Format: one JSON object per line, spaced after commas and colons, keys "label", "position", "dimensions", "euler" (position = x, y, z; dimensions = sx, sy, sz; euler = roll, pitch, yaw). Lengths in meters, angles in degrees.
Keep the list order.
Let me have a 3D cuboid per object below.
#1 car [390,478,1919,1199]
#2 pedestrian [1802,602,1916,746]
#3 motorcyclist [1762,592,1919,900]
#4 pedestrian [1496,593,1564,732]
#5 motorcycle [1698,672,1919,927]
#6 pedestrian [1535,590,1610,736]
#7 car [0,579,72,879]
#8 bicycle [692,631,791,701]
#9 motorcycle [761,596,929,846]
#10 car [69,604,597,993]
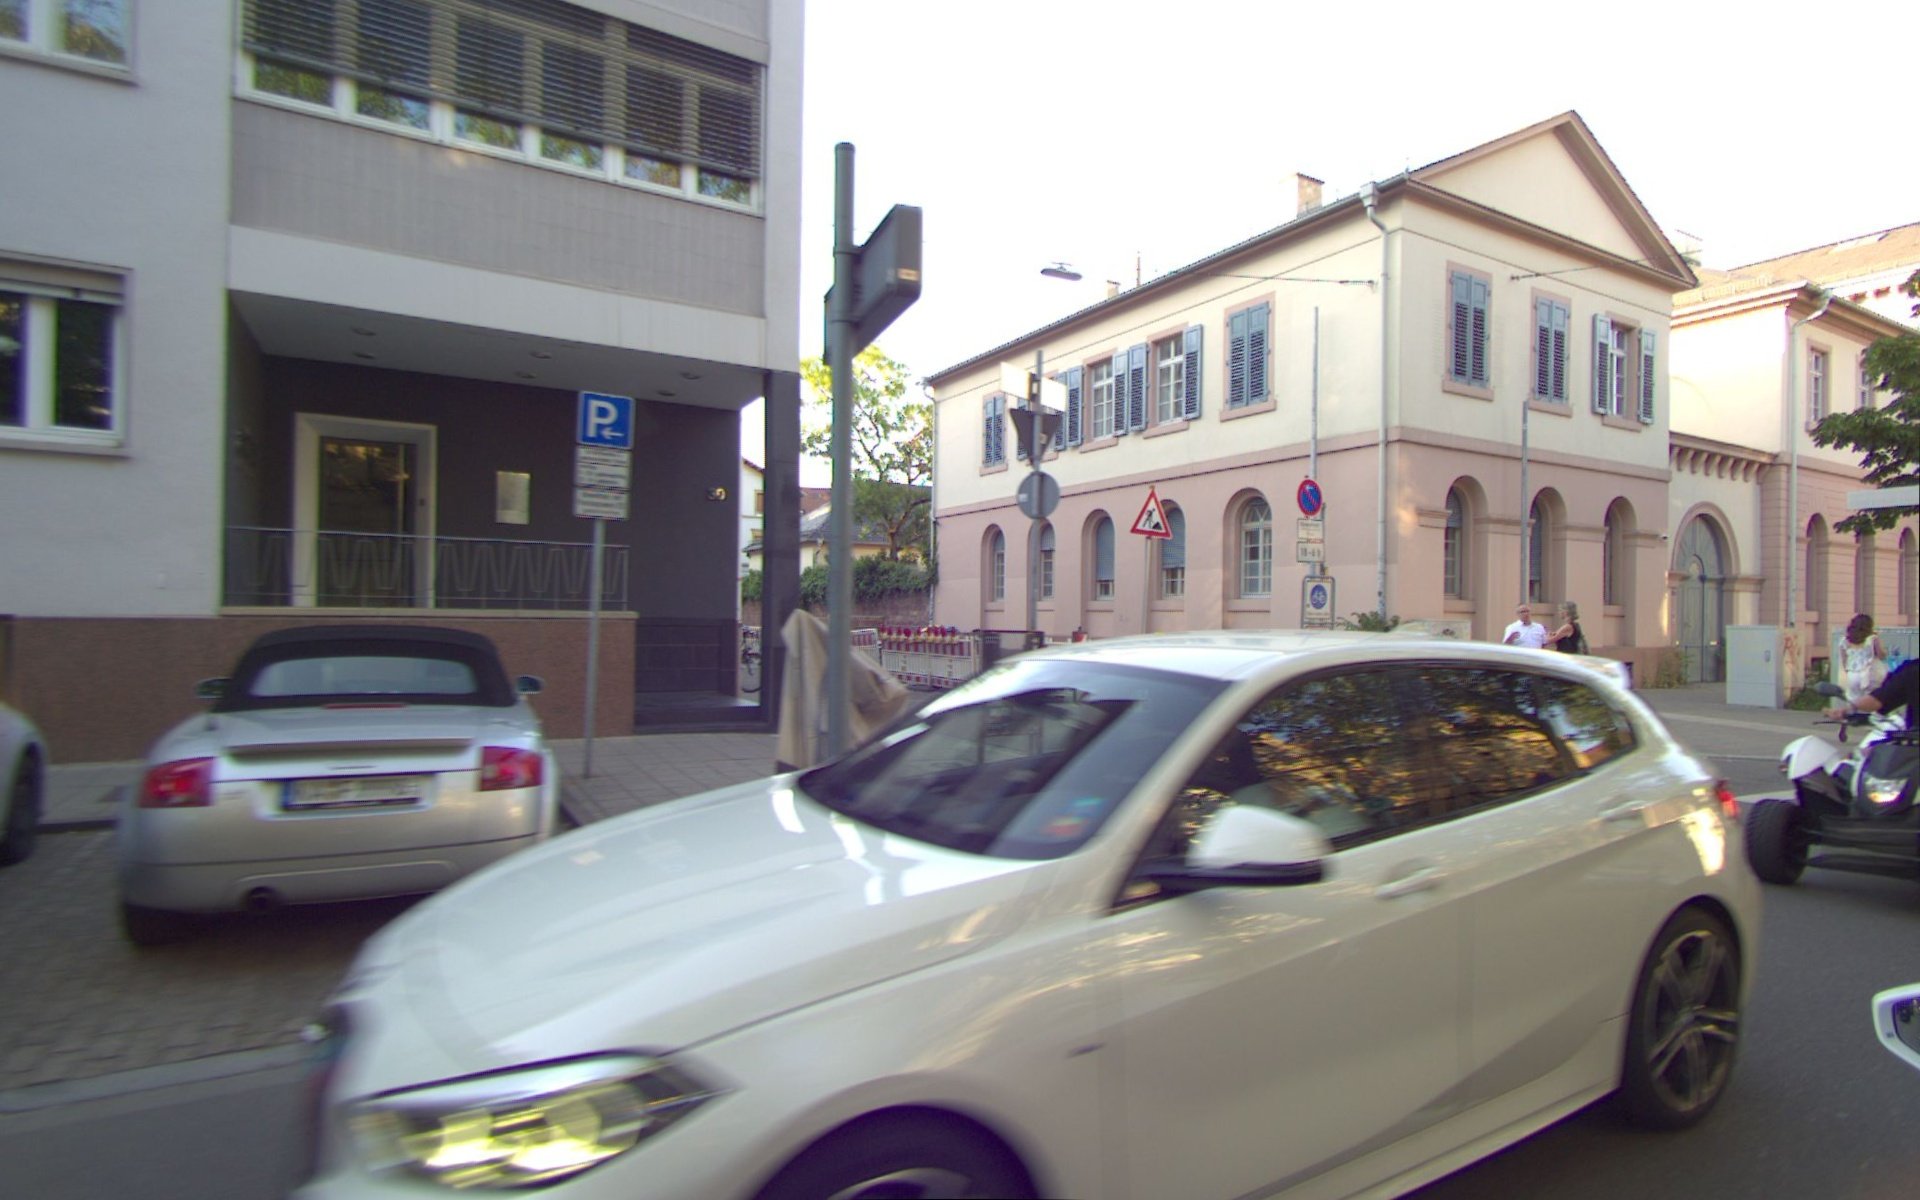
{"label": "car", "position": [0.762, 0.697, 3.018], "dimensions": [4.221, 1.569, 1.870], "euler": [1, -2, -28]}
{"label": "pedestrian", "position": [11.951, 0.955, 13.371], "dimensions": [0.759, 1.815, 0.789], "euler": [1, 2, -18]}
{"label": "motorcyclist", "position": [5.467, 0.777, 5.593], "dimensions": [1.064, 1.613, 1.274], "euler": [1, -1, -30]}
{"label": "pedestrian", "position": [7.895, 0.857, 13.924], "dimensions": [0.601, 1.875, 0.554], "euler": [1, -1, -16]}
{"label": "motorcycle", "position": [5.385, 1.004, 5.535], "dimensions": [2.368, 1.105, 1.306], "euler": [1, -1, -30]}
{"label": "pedestrian", "position": [8.083, 0.815, 13.265], "dimensions": [0.601, 1.875, 0.554], "euler": [-1, 0, -16]}
{"label": "car", "position": [-5.239, 0.653, 4.094], "dimensions": [1.715, 1.478, 3.722], "euler": [1, 1, -30]}
{"label": "bicycle", "position": [-4.161, 1.220, 19.017], "dimensions": [2.206, 1.160, 0.719], "euler": [2, 0, 45]}
{"label": "motorcycle", "position": [-0.815, 0.730, 6.909], "dimensions": [0.950, 1.438, 2.152], "euler": [1, -1, -8]}
{"label": "car", "position": [-3.250, 0.759, 5.785], "dimensions": [1.820, 1.329, 3.727], "euler": [1, 1, -25]}
